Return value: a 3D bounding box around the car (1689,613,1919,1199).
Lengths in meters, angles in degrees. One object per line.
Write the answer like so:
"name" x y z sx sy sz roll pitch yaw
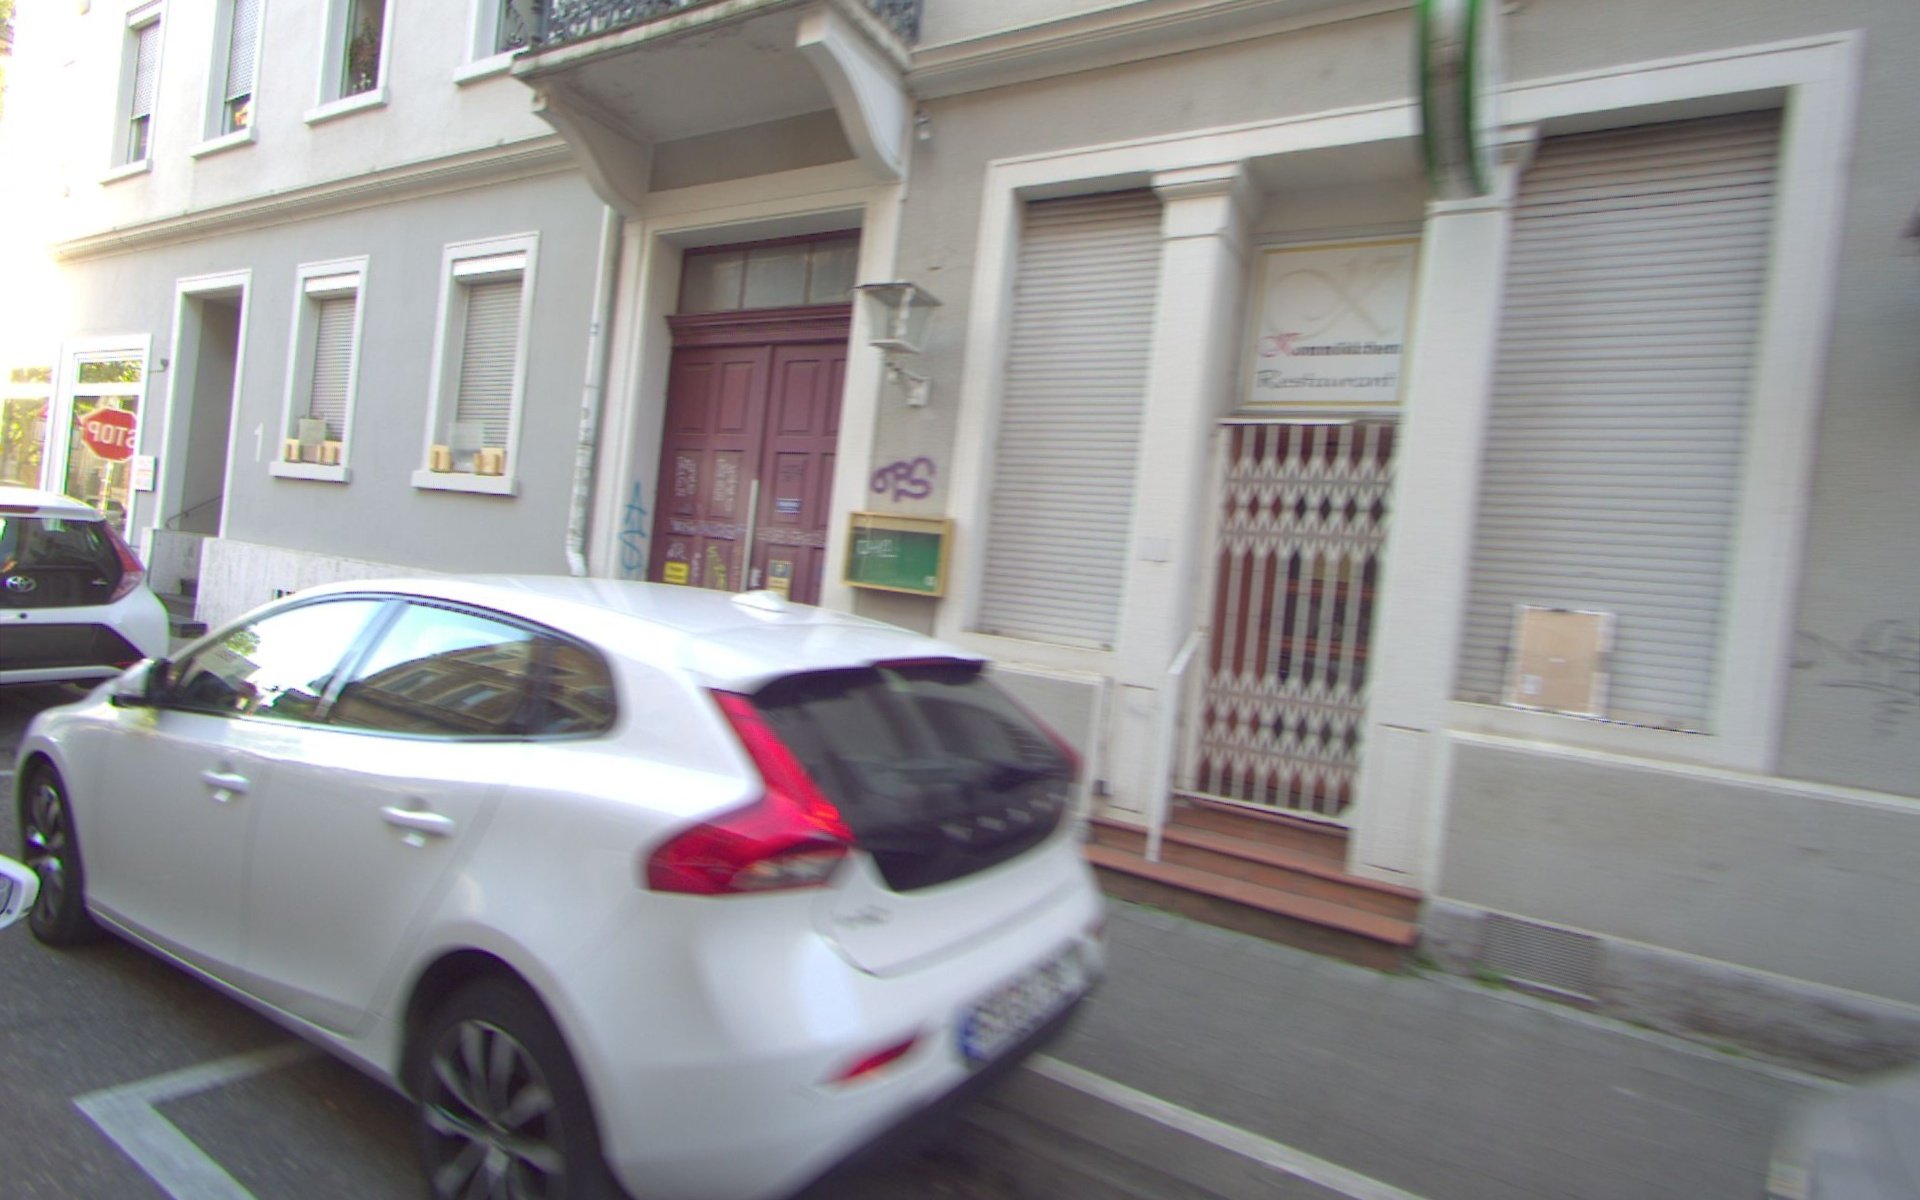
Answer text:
"car" 3.065 1.088 0.572 4.122 1.616 1.681 7 -2 34

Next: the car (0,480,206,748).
"car" -7.284 -0.087 7.124 3.724 1.605 1.640 7 -1 30

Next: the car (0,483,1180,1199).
"car" -1.604 0.607 3.372 4.119 1.528 1.683 7 -2 31
